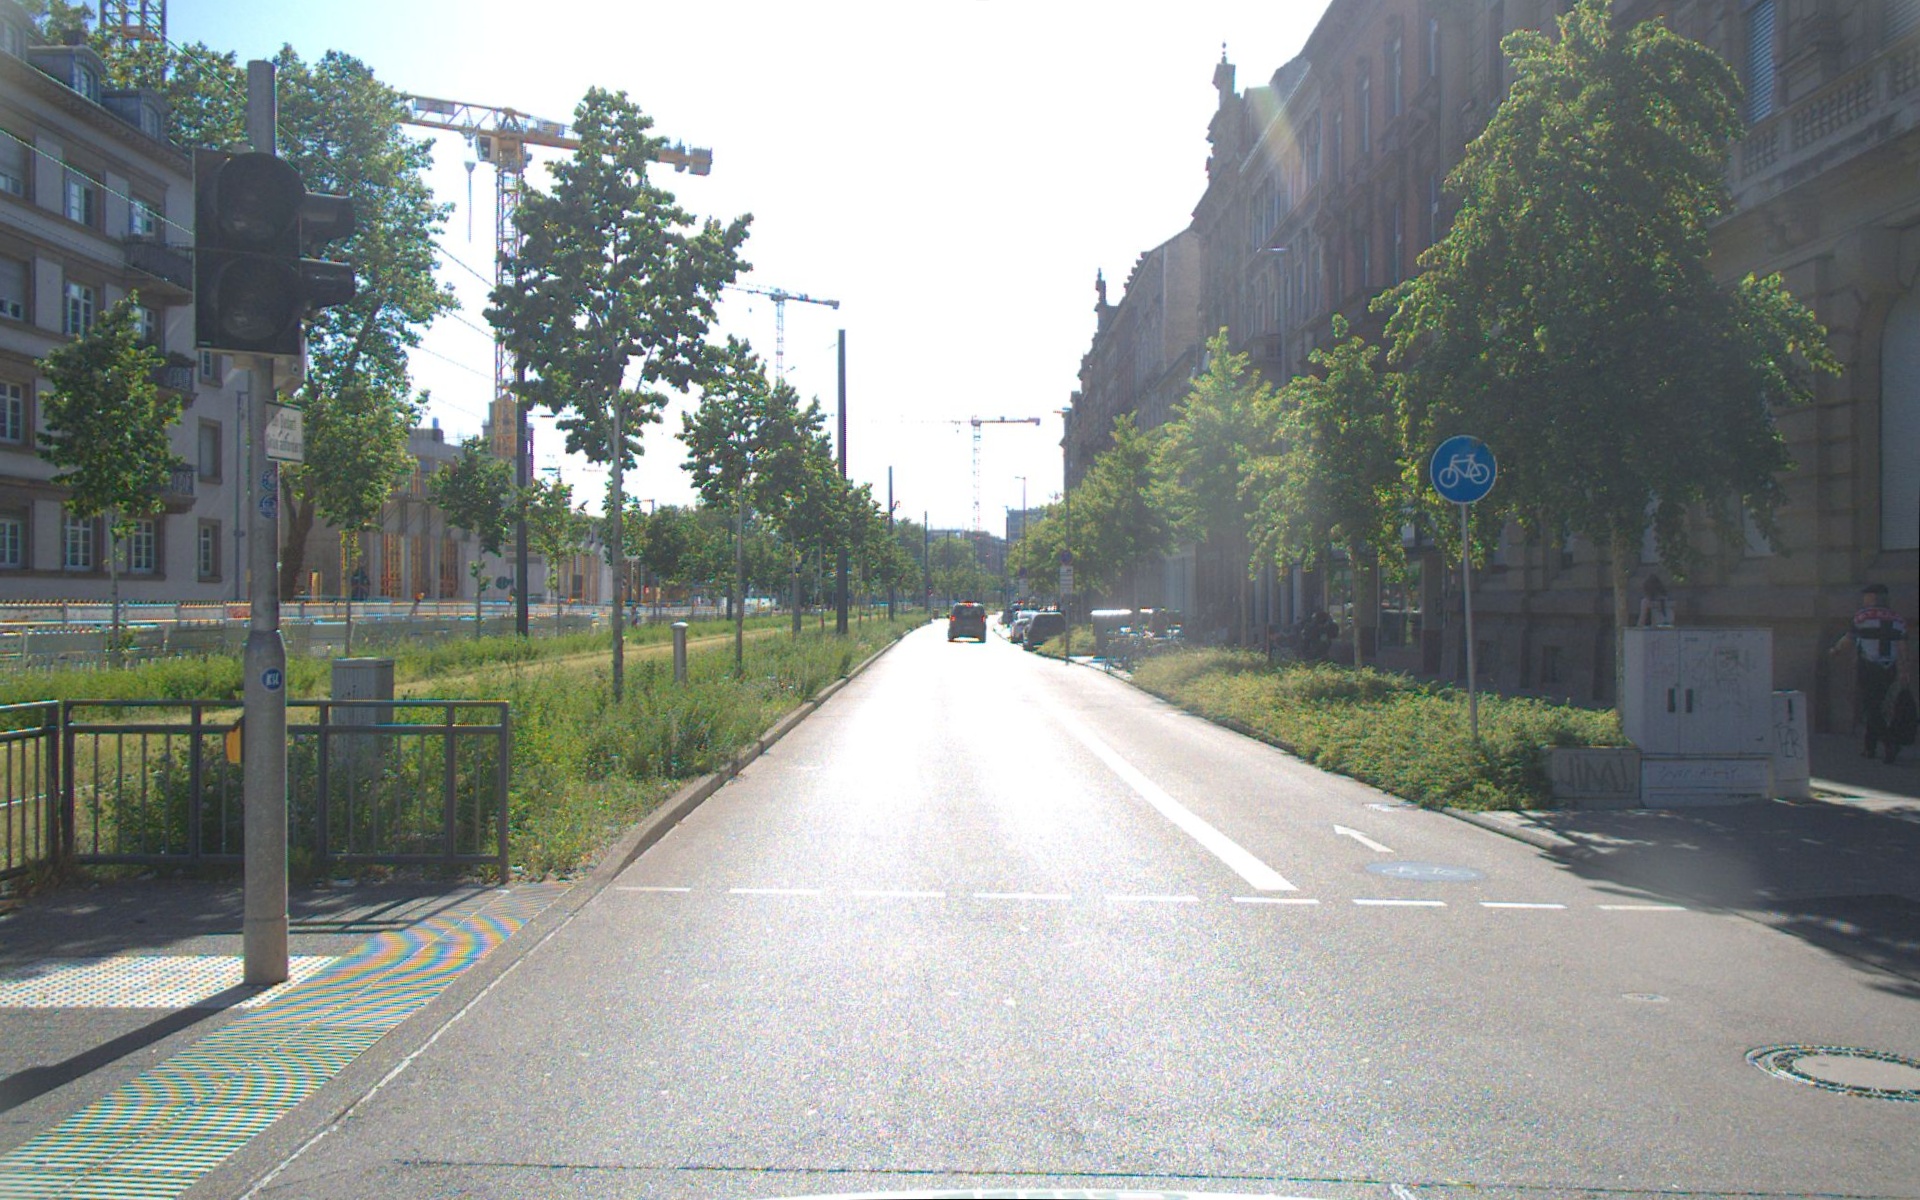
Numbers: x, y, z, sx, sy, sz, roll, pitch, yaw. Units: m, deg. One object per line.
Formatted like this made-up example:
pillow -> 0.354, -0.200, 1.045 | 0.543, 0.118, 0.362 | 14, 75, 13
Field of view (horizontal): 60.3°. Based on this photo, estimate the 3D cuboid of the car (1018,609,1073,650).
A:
car -> 3.443, 1.193, 67.147 | 1.730, 1.502, 4.445 | -2, -1, -3

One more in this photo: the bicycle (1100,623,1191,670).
bicycle -> 4.731, 1.179, 42.204 | 2.247, 1.121, 0.484 | -2, -1, -15

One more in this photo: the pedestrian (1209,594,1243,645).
pedestrian -> 8.915, 0.656, 55.474 | 0.951, 1.668, 0.992 | -1, 1, -1

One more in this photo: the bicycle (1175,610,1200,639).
bicycle -> 9.550, 1.030, 69.502 | 0.732, 1.222, 1.800 | -1, -1, -1

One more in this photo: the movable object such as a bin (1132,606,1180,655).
movable object such as a bin -> 6.446, 0.990, 54.487 | 1.345, 1.521, 1.749 | -2, -1, 0

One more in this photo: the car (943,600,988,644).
car -> 0.224, 1.092, 80.386 | 1.954, 2.049, 3.997 | 1, -1, -3

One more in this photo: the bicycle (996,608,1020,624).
bicycle -> 3.993, 1.301, 137.228 | 1.843, 1.255, 0.499 | -2, -1, -6

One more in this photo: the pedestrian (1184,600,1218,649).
pedestrian -> 8.089, 0.800, 55.533 | 0.931, 1.594, 1.080 | -1, 1, -1

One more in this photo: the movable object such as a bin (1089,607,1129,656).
movable object such as a bin -> 4.883, 1.015, 54.291 | 1.244, 1.489, 1.645 | 1, 2, 4

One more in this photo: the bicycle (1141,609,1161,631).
bicycle -> 9.667, 1.001, 83.738 | 0.706, 1.109, 2.198 | -1, 0, 0

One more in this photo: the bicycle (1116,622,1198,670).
bicycle -> 4.890, 1.137, 41.042 | 1.938, 1.128, 0.435 | -2, -1, -4

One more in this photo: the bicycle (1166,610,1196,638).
bicycle -> 9.696, 1.043, 72.569 | 0.858, 1.124, 2.180 | -3, 0, -3

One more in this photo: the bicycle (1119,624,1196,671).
bicycle -> 4.851, 1.165, 40.697 | 1.779, 1.074, 0.571 | -2, -1, -7

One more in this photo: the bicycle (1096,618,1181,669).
bicycle -> 4.590, 1.103, 42.547 | 2.110, 1.174, 0.428 | -3, 0, -15

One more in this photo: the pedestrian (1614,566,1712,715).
pedestrian -> 9.594, 0.548, 22.609 | 0.871, 1.953, 1.098 | -2, -1, 4

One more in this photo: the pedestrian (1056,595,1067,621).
pedestrian -> 8.383, 0.639, 136.099 | 0.801, 2.049, 1.046 | 1, -3, 0

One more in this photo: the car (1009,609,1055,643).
car -> 3.455, 1.213, 79.855 | 1.912, 1.521, 5.104 | -2, 0, 0

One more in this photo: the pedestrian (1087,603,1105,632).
pedestrian -> 8.300, 1.069, 101.176 | 0.975, 1.762, 0.866 | 1, -1, -1

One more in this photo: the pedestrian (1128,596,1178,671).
pedestrian -> 4.768, 0.814, 40.829 | 0.830, 1.766, 0.901 | -4, 0, 29

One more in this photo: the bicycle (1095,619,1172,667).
bicycle -> 4.619, 1.144, 44.039 | 1.937, 1.143, 0.481 | -4, 1, -6

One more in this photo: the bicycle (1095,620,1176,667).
bicycle -> 4.629, 1.136, 43.631 | 2.004, 1.126, 0.610 | -3, -1, -7

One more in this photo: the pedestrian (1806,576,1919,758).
pedestrian -> 9.152, 0.637, 16.363 | 0.949, 1.722, 1.114 | -2, -1, 2

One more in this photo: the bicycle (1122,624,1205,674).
bicycle -> 4.824, 1.158, 39.224 | 1.855, 1.128, 0.517 | -2, -1, -6

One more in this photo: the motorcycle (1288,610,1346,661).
motorcycle -> 9.481, 0.934, 44.049 | 0.848, 1.288, 2.981 | 1, -1, -1
